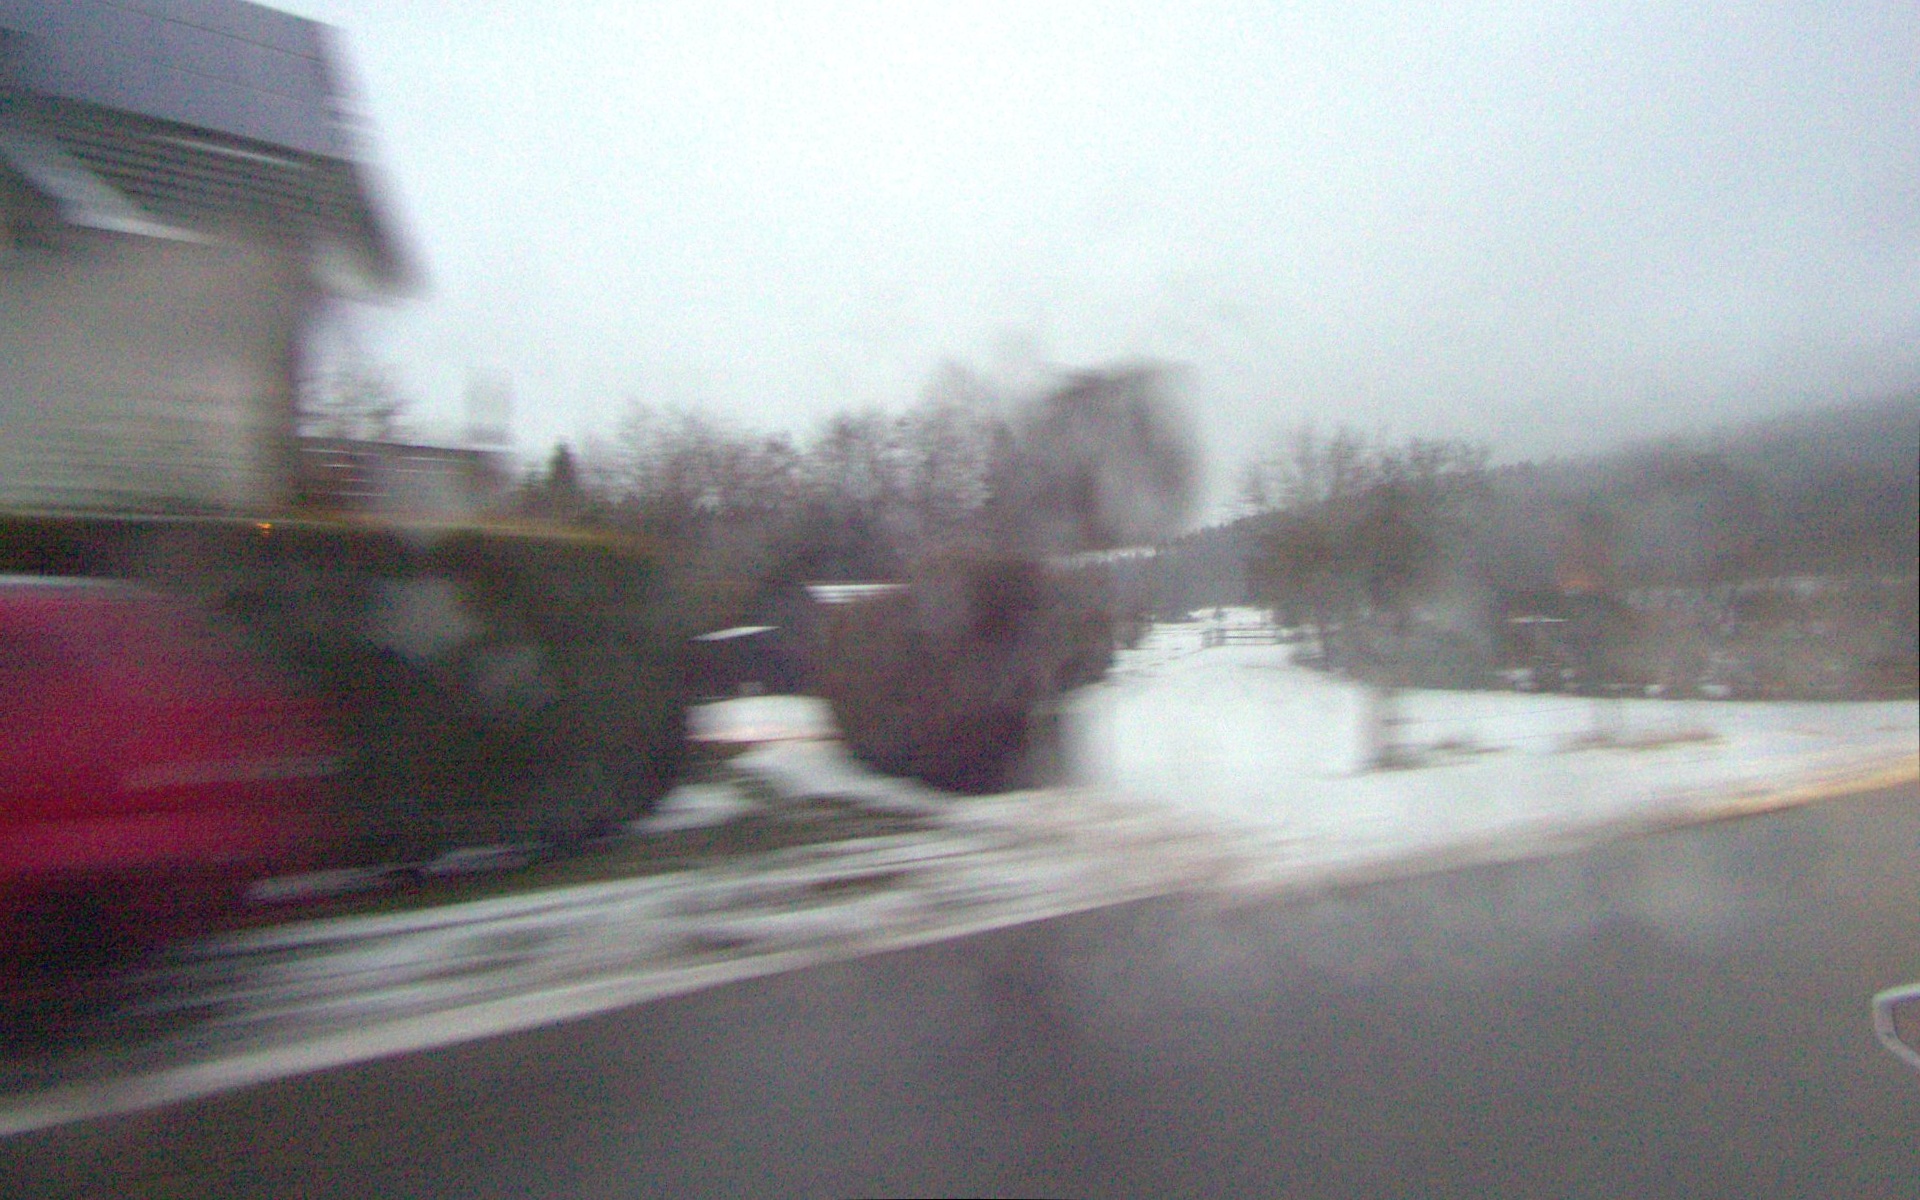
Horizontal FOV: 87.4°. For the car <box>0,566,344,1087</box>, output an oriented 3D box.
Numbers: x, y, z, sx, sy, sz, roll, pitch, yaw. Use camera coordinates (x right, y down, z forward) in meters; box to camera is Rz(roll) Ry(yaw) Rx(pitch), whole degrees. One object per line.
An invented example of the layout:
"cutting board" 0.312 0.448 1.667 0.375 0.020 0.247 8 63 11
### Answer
"car" -4.049 0.695 3.223 3.480 1.554 1.708 0 -2 -34
